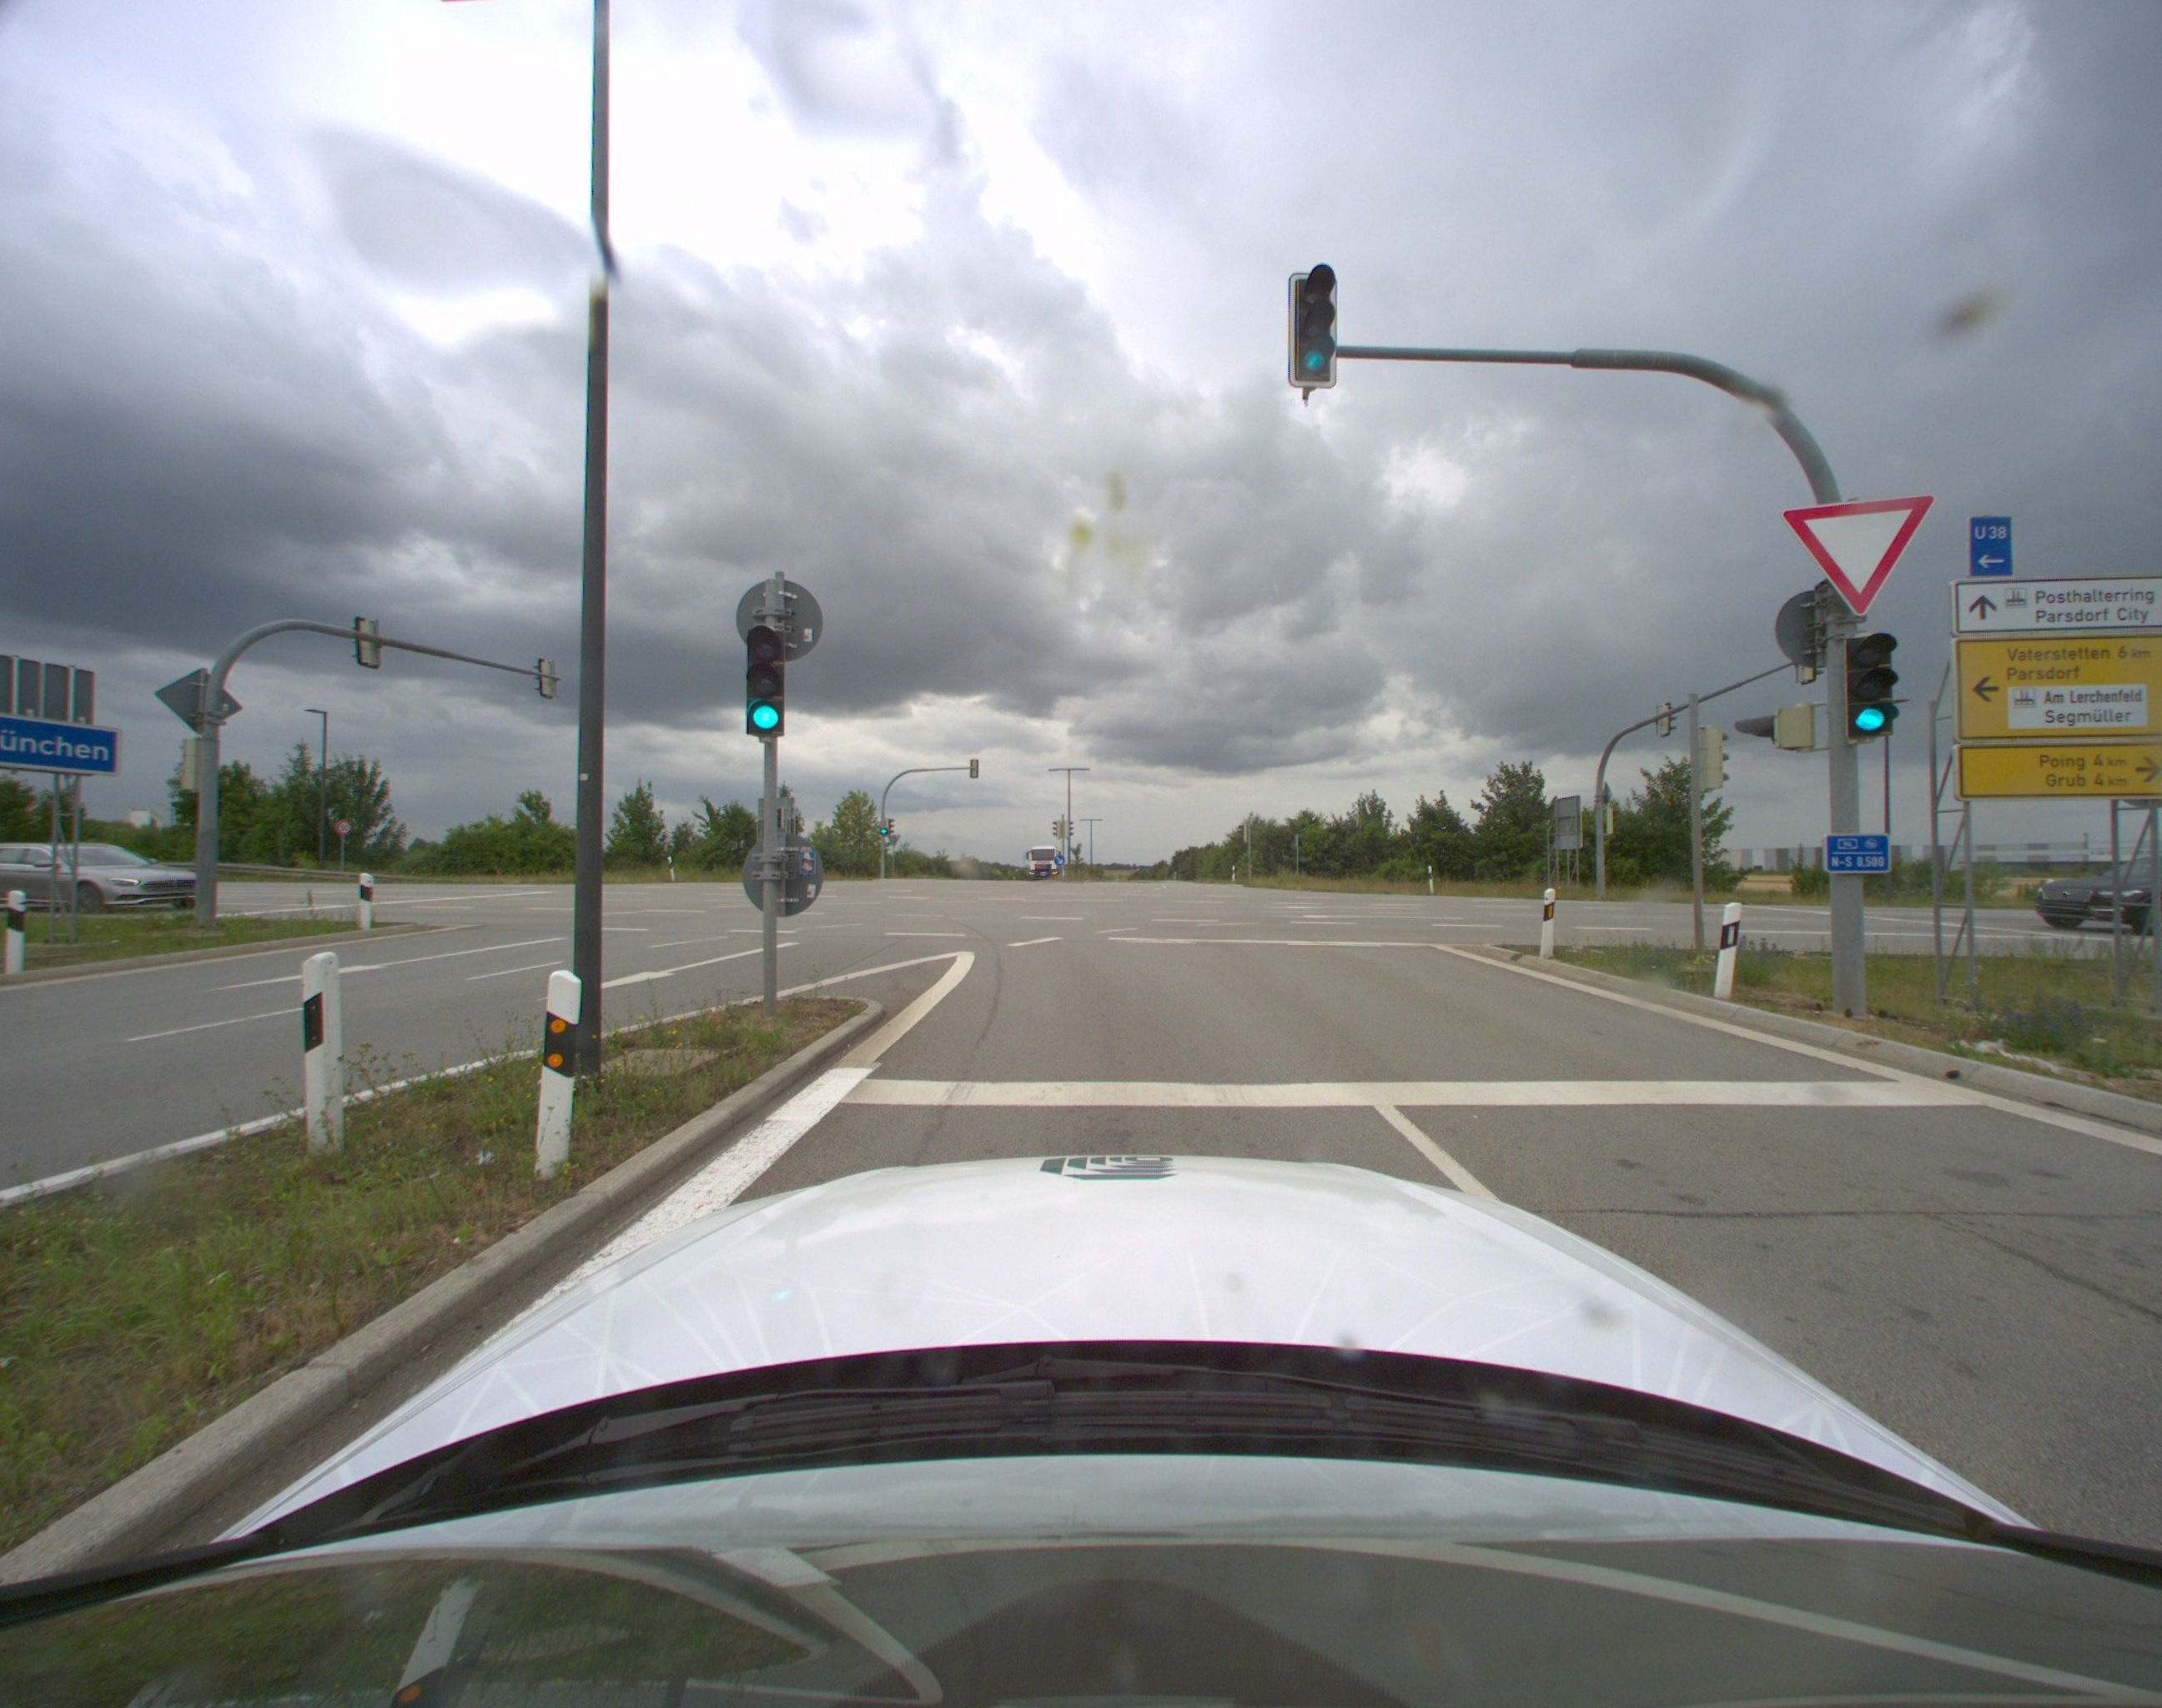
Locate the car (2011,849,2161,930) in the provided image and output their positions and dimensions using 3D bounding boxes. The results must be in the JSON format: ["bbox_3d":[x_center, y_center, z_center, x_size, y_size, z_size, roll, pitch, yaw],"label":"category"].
[{"bbox_3d":[24.032,0.756,17.663,4.951,1.684,2.006,0,-1,10],"label":"car"}]

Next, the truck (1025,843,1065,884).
[{"bbox_3d":[-3.093,0.923,72.107,2.858,3.408,8.653,0,-2,2],"label":"truck"}]

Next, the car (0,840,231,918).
[{"bbox_3d":[-22.448,0.501,18.315,4.909,1.610,1.924,0,1,5],"label":"car"}]
